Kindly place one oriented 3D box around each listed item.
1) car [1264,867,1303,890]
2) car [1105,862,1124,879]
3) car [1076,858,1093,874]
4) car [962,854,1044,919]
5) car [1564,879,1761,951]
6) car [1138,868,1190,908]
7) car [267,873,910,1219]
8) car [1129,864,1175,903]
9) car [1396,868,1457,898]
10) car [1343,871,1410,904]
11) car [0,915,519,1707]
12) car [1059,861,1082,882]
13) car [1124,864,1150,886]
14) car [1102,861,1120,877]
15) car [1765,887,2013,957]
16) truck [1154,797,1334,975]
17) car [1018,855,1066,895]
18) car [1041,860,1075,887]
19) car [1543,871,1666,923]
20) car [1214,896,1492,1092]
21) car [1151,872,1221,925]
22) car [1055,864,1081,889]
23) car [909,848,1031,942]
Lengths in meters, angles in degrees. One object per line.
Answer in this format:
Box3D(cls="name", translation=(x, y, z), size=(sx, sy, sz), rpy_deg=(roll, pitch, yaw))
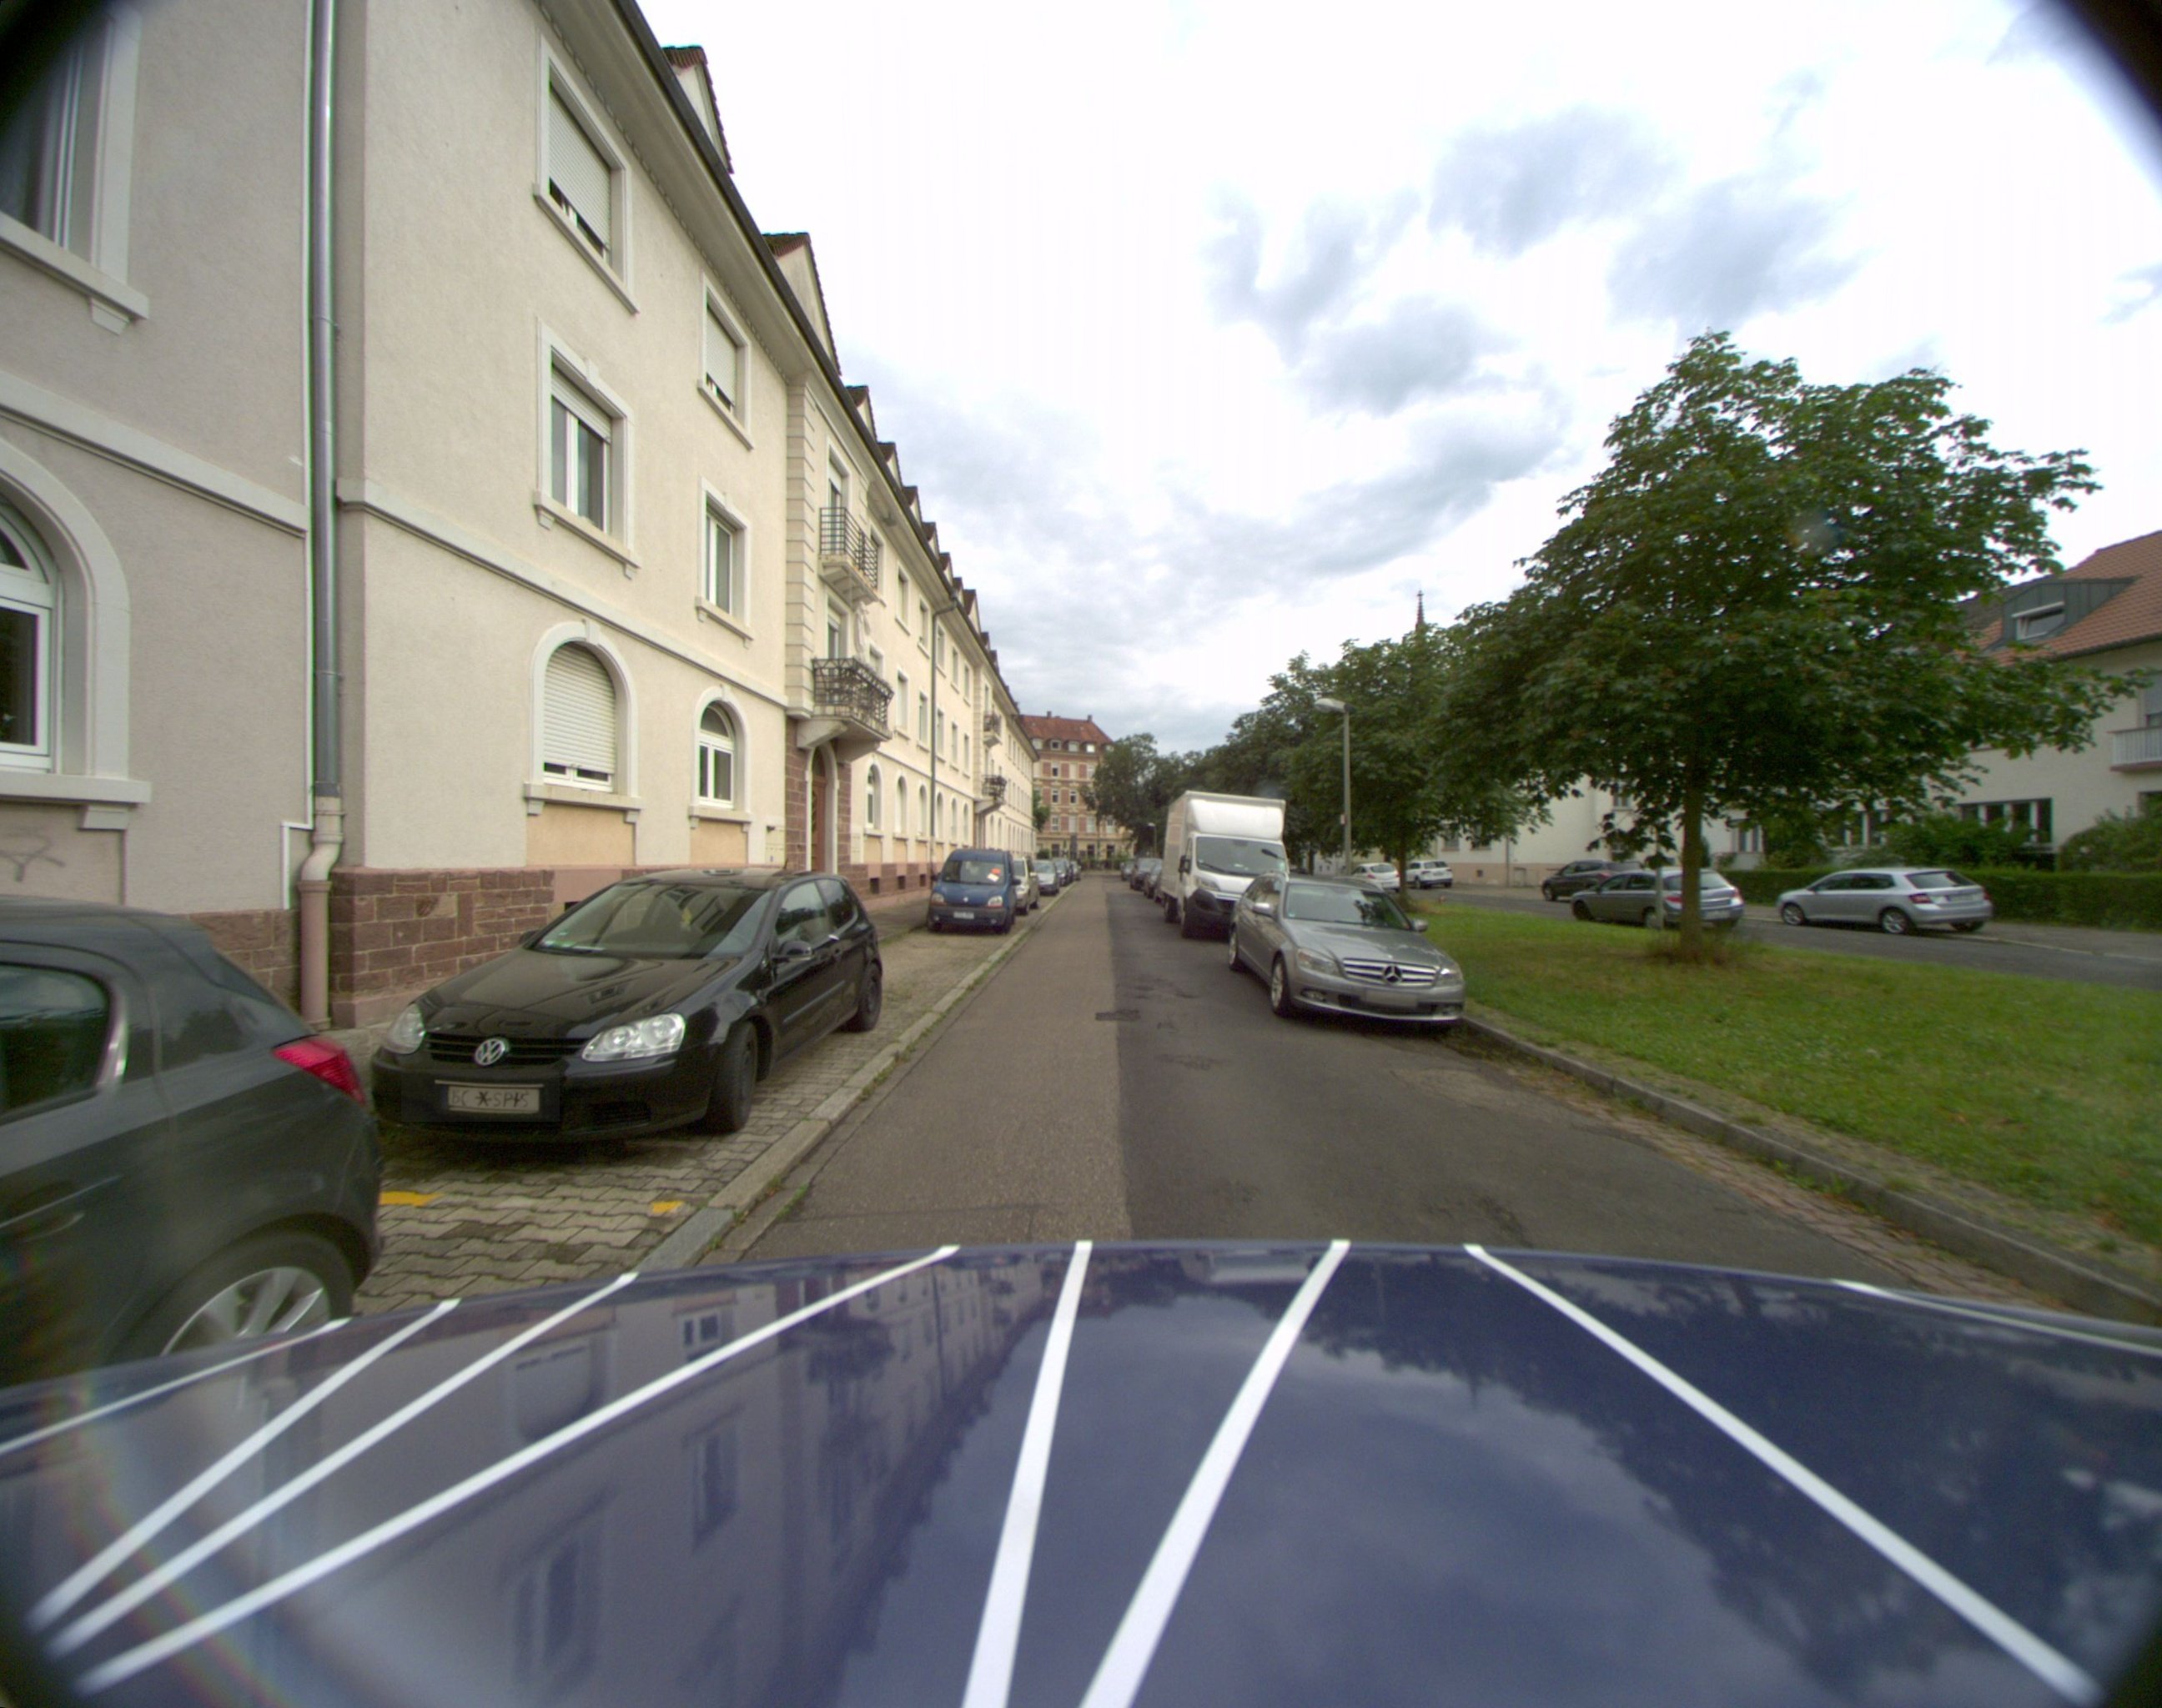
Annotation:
Box3D(cls="car", translation=(15.022, 1.813, 56.533), size=(1.969, 1.629, 4.007), rpy_deg=(-1, -1, 2))
Box3D(cls="car", translation=(3.423, 1.674, 77.899), size=(1.643, 1.570, 4.209), rpy_deg=(4, -1, 0))
Box3D(cls="car", translation=(0.324, 1.329, 82.159), size=(1.643, 1.570, 4.209), rpy_deg=(4, -1, 0))
Box3D(cls="car", translation=(-2.188, 0.904, 22.487), size=(1.775, 1.628, 4.129), rpy_deg=(4, -1, 2))
Box3D(cls="car", translation=(13.897, 1.396, 18.502), size=(1.804, 1.479, 4.007), rpy_deg=(-1, -1, 2))
Box3D(cls="car", translation=(3.332, 1.345, 31.058), size=(1.643, 1.505, 4.152), rpy_deg=(1, -1, 0))
Box3D(cls="car", translation=(-2.736, 0.914, 5.696), size=(1.692, 1.445, 4.546), rpy_deg=(3, -1, 2))
Box3D(cls="car", translation=(3.506, 1.443, 38.281), size=(1.784, 1.697, 4.315), rpy_deg=(4, -1, 0))
Box3D(cls="car", translation=(19.968, 1.647, 44.148), size=(1.804, 1.597, 4.007), rpy_deg=(-1, -1, 2))
Box3D(cls="car", translation=(14.298, 1.582, 37.034), size=(1.804, 1.479, 4.007), rpy_deg=(-1, -1, 2))
Box3D(cls="car", translation=(-2.734, 0.934, 0.593), size=(1.692, 1.445, 3.901), rpy_deg=(3, -1, -1))
Box3D(cls="car", translation=(-0.725, 1.292, 55.745), size=(1.455, 1.388, 4.011), rpy_deg=(4, -1, 2))
Box3D(cls="car", translation=(4.201, 1.574, 57.753), size=(1.643, 1.570, 4.209), rpy_deg=(1, -1, 0))
Box3D(cls="car", translation=(3.267, 1.603, 82.762), size=(1.643, 1.570, 4.209), rpy_deg=(4, -1, 0))
Box3D(cls="car", translation=(19.055, 1.541, 18.219), size=(1.804, 1.347, 3.942), rpy_deg=(-1, -1, 2))
Box3D(cls="truck", translation=(3.243, 0.631, 17.086), size=(2.443, 2.939, 7.114), rpy_deg=(5, -1, 2))
Box3D(cls="car", translation=(-1.635, 0.888, 32.912), size=(1.686, 1.505, 3.955), rpy_deg=(4, -1, 2))
Box3D(cls="car", translation=(-1.283, 1.112, 43.888), size=(1.609, 1.391, 4.011), rpy_deg=(4, -1, 2))
Box3D(cls="car", translation=(19.494, 1.537, 28.522), size=(1.804, 1.663, 4.102), rpy_deg=(-3, -1, 2))
Box3D(cls="car", translation=(2.829, 1.376, 9.037), size=(1.715, 1.449, 4.449), rpy_deg=(5, -1, 2))
Box3D(cls="car", translation=(3.422, 1.431, 25.508), size=(1.643, 1.505, 4.152), rpy_deg=(4, -1, 0))
Box3D(cls="car", translation=(-0.856, 1.499, 51.600), size=(1.609, 1.575, 4.011), rpy_deg=(1, -1, 2))
Box3D(cls="car", translation=(-2.333, 0.836, 17.116), size=(1.942, 1.774, 4.187), rpy_deg=(2, -1, 2))
